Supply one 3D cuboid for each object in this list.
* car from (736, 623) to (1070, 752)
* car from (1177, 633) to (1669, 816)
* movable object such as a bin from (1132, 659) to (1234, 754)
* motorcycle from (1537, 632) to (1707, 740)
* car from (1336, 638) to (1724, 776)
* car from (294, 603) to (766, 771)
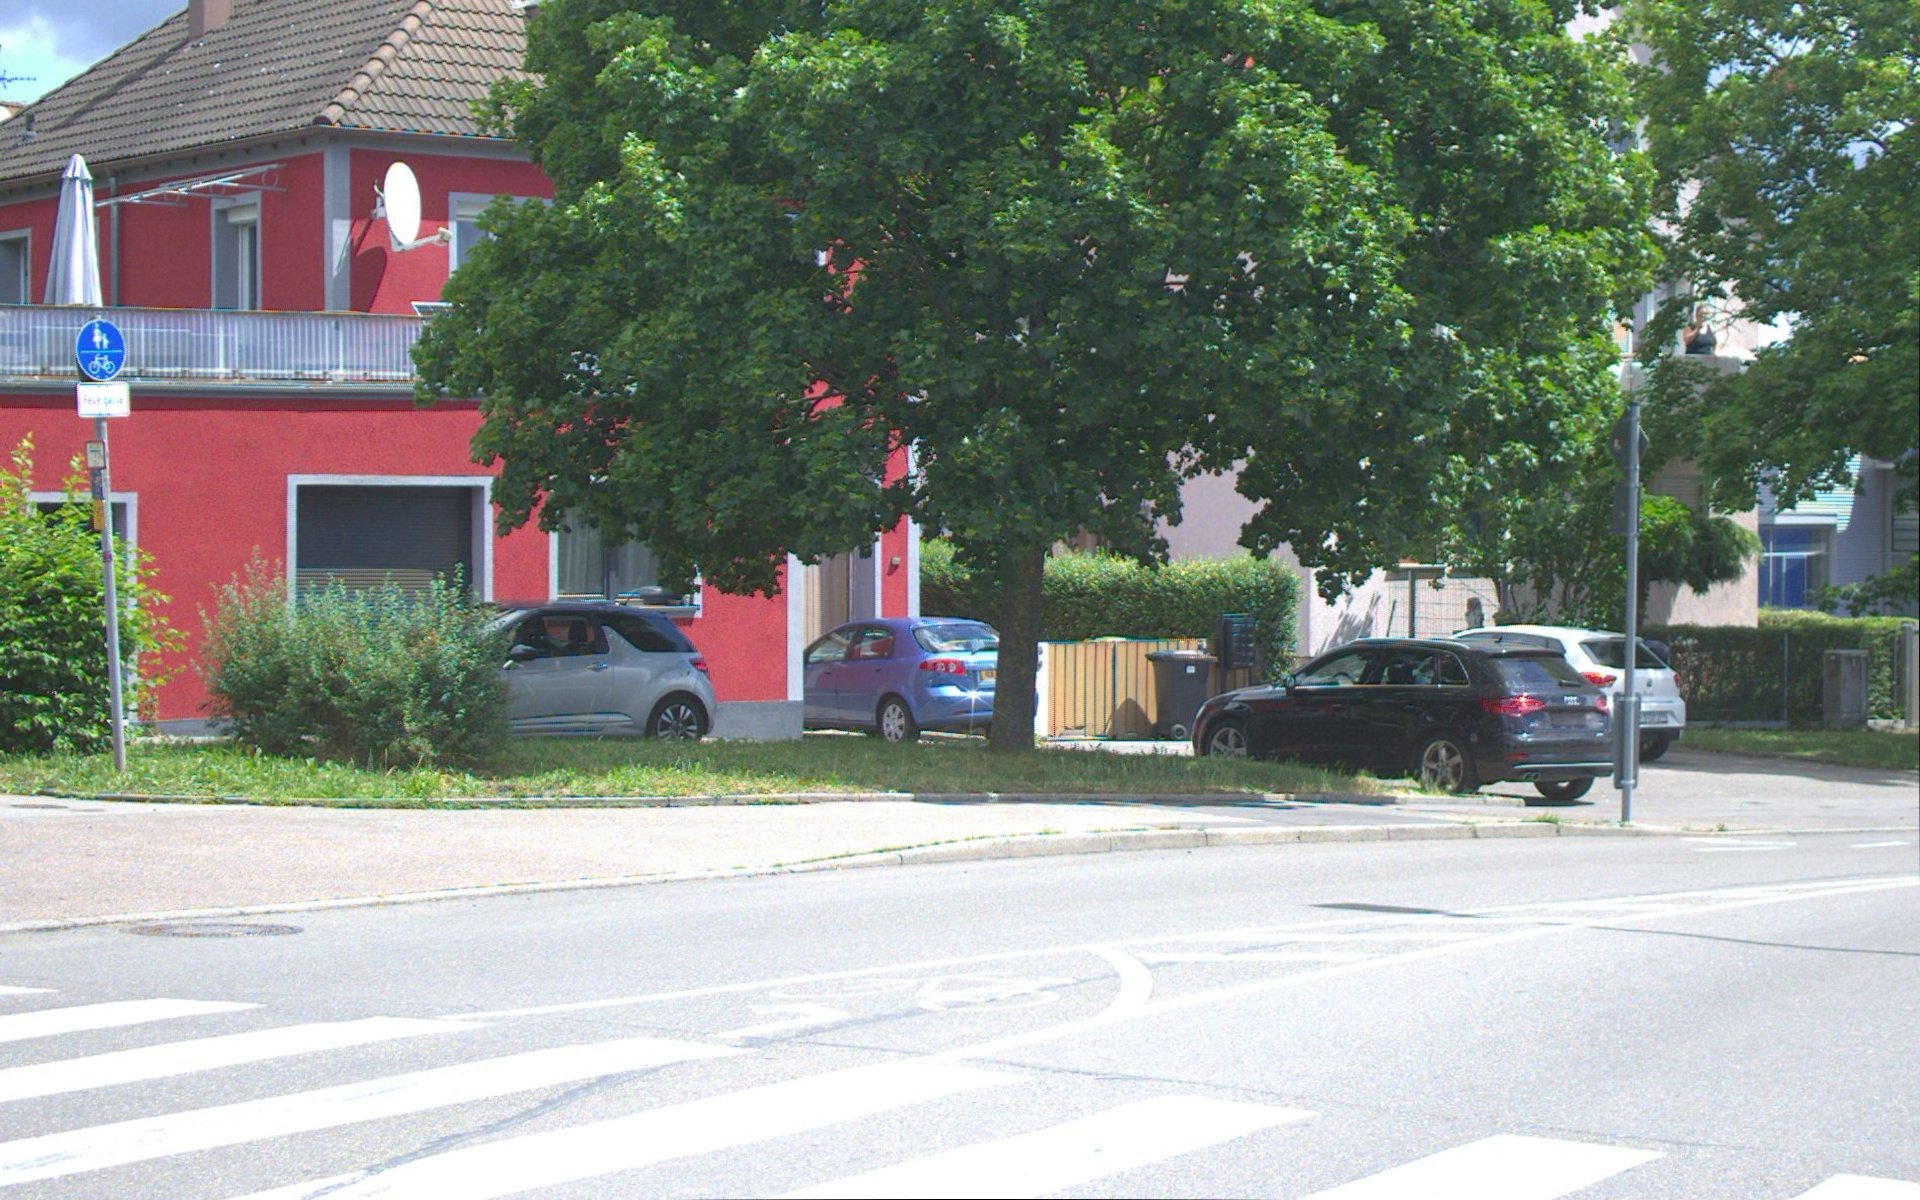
[{"bbox_3d":[-0.686,0.967,38.822,1.837,1.373,3.813,2,-1,-38],"label":"car"},{"bbox_3d":[4.100,1.089,31.013,1.994,1.389,4.143,2,0,-38],"label":"car"},{"bbox_3d":[2.628,1.252,40.509,0.877,1.058,0.758,3,0,-34],"label":"movable object such as a bin"},{"bbox_3d":[8.677,1.133,45.039,2.229,1.311,0.920,3,0,-40],"label":"motorcycle"},{"bbox_3d":[6.284,1.169,38.202,1.871,1.399,3.930,3,-2,-41],"label":"car"},{"bbox_3d":[-3.971,0.830,32.094,4.065,1.421,1.645,2,0,-39],"label":"car"}]
